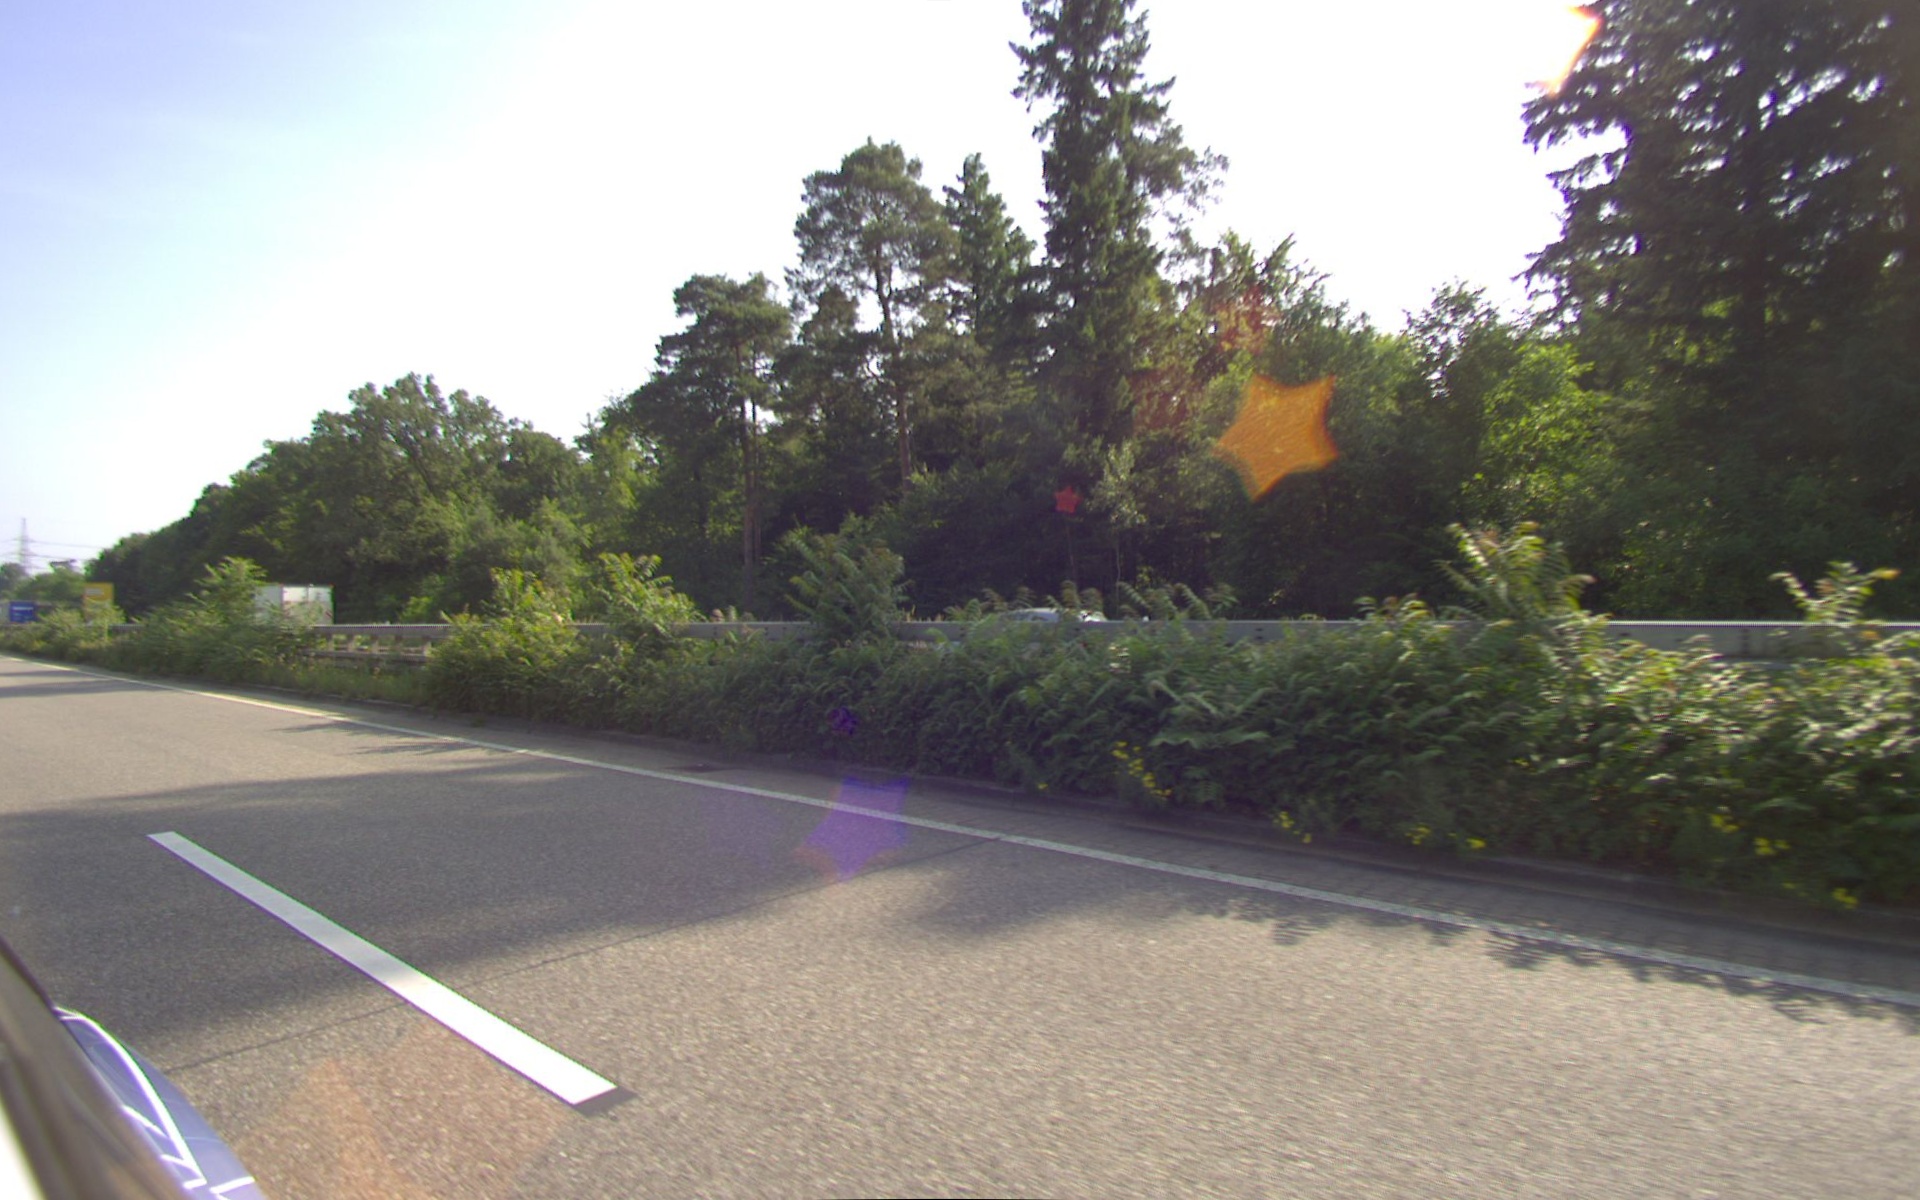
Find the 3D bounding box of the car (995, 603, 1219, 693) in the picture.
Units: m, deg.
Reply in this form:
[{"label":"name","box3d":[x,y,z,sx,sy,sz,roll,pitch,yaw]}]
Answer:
[{"label":"car","box3d":[2.491,0.771,17.574,3.580,1.391,1.571,-1,0,42]}]

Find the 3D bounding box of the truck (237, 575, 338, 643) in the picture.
[{"label":"truck","box3d":[-34.008,0.534,51.075,7.224,3.201,2.436,-1,-2,41]}]

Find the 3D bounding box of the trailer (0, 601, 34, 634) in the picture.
[{"label":"trailer","box3d":[-120.832,2.257,128.933,13.320,4.039,2.861,-2,-3,42]}]
